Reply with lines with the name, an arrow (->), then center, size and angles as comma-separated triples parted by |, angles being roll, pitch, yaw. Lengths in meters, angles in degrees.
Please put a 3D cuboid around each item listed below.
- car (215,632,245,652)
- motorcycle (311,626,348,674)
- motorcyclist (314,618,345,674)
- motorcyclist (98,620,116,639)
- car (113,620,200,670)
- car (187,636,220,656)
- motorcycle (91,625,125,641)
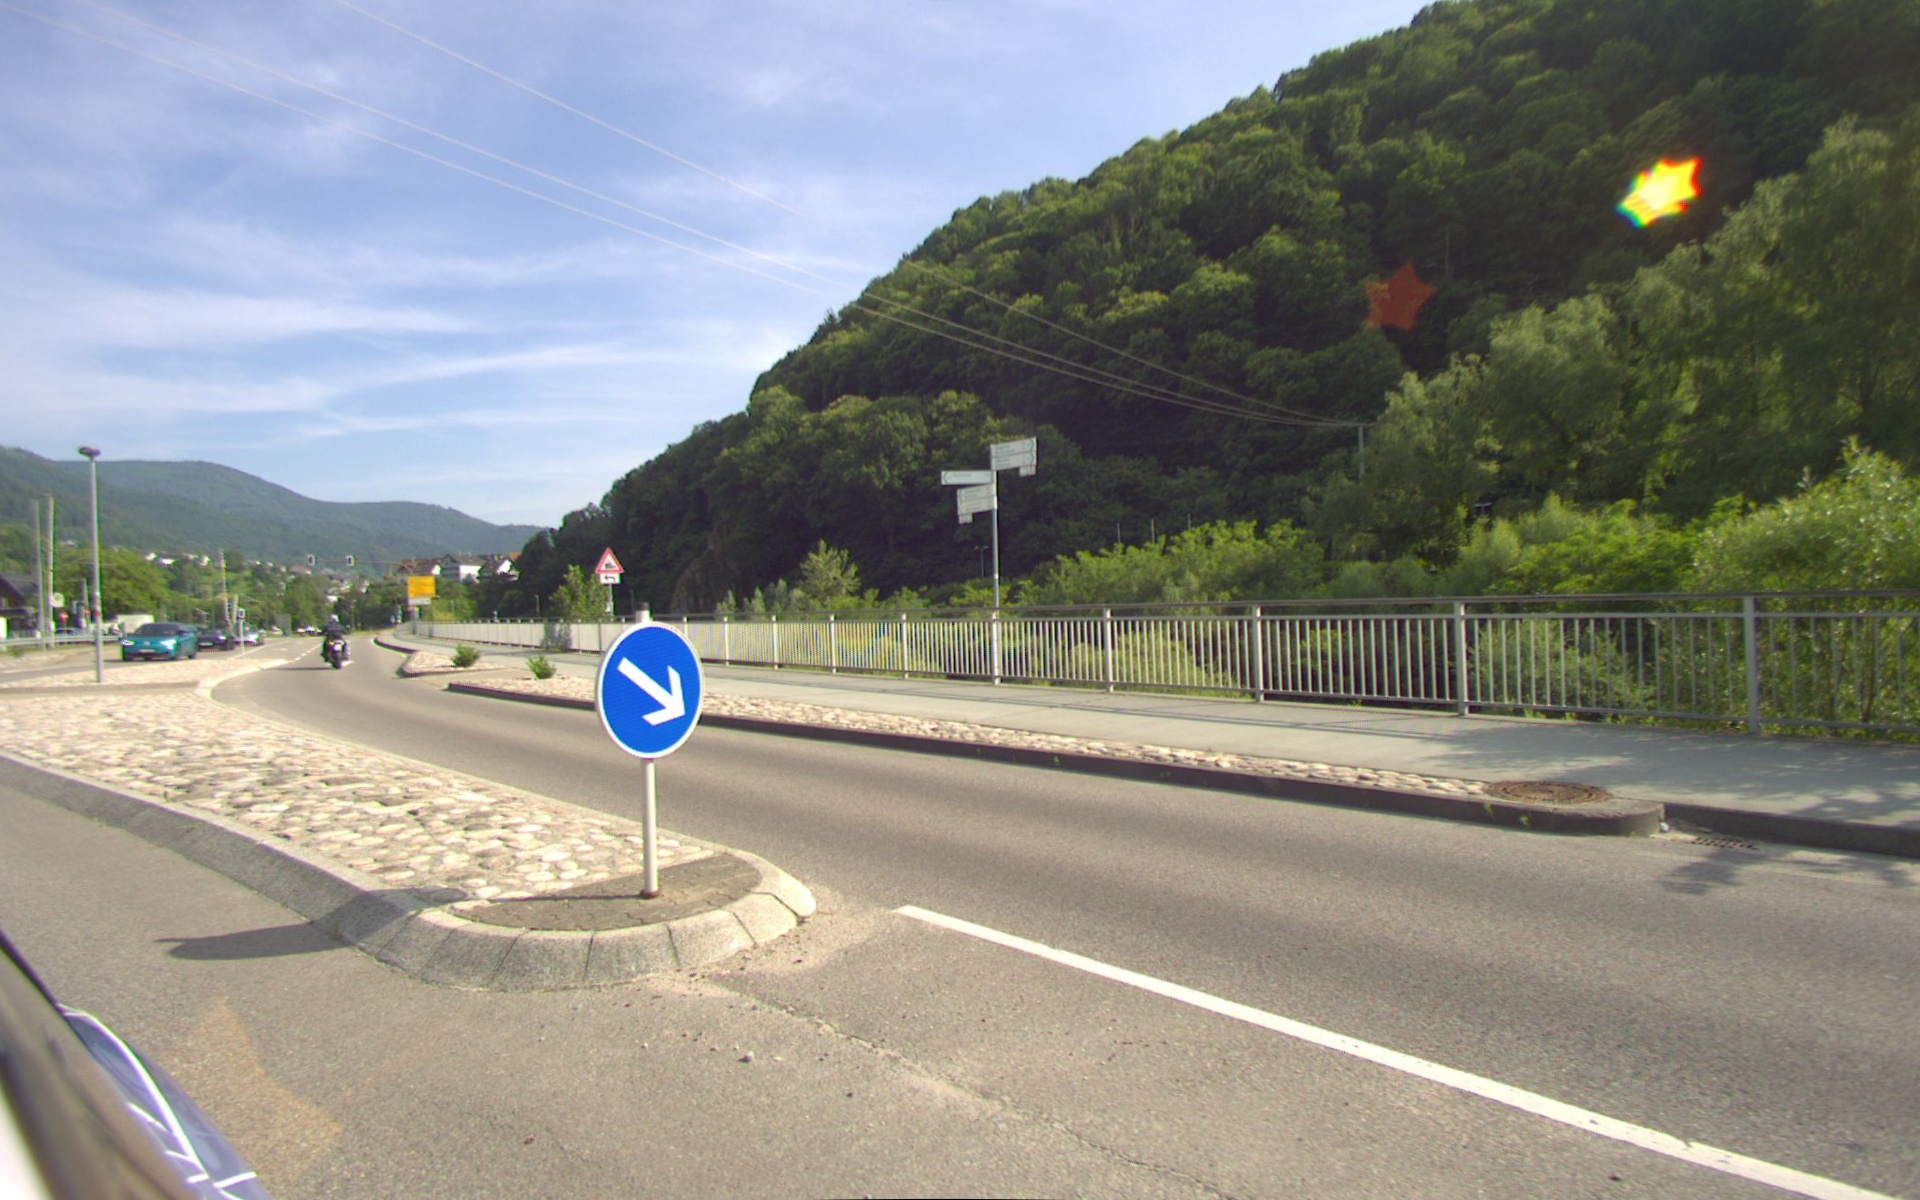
car -> -48.634, 2.803, 67.444 | 1.283, 1.233, 2.936 | -3, -1, -30
motorcycle -> -19.790, 1.553, 31.764 | 0.762, 1.433, 2.323 | 0, -1, -37
motorcyclist -> -19.821, 1.436, 31.807 | 0.753, 1.690, 0.728 | -1, 0, -37
motorcyclist -> -71.998, 2.475, 85.433 | 0.894, 1.609, 0.767 | -3, -1, -13
car -> -32.553, 1.763, 41.137 | 1.852, 1.751, 4.530 | -1, 1, -27
car -> -40.830, 2.483, 54.634 | 1.284, 0.976, 3.213 | -3, -1, -35
motorcycle -> -71.969, 2.764, 85.475 | 2.065, 1.264, 0.801 | -3, -1, -12
